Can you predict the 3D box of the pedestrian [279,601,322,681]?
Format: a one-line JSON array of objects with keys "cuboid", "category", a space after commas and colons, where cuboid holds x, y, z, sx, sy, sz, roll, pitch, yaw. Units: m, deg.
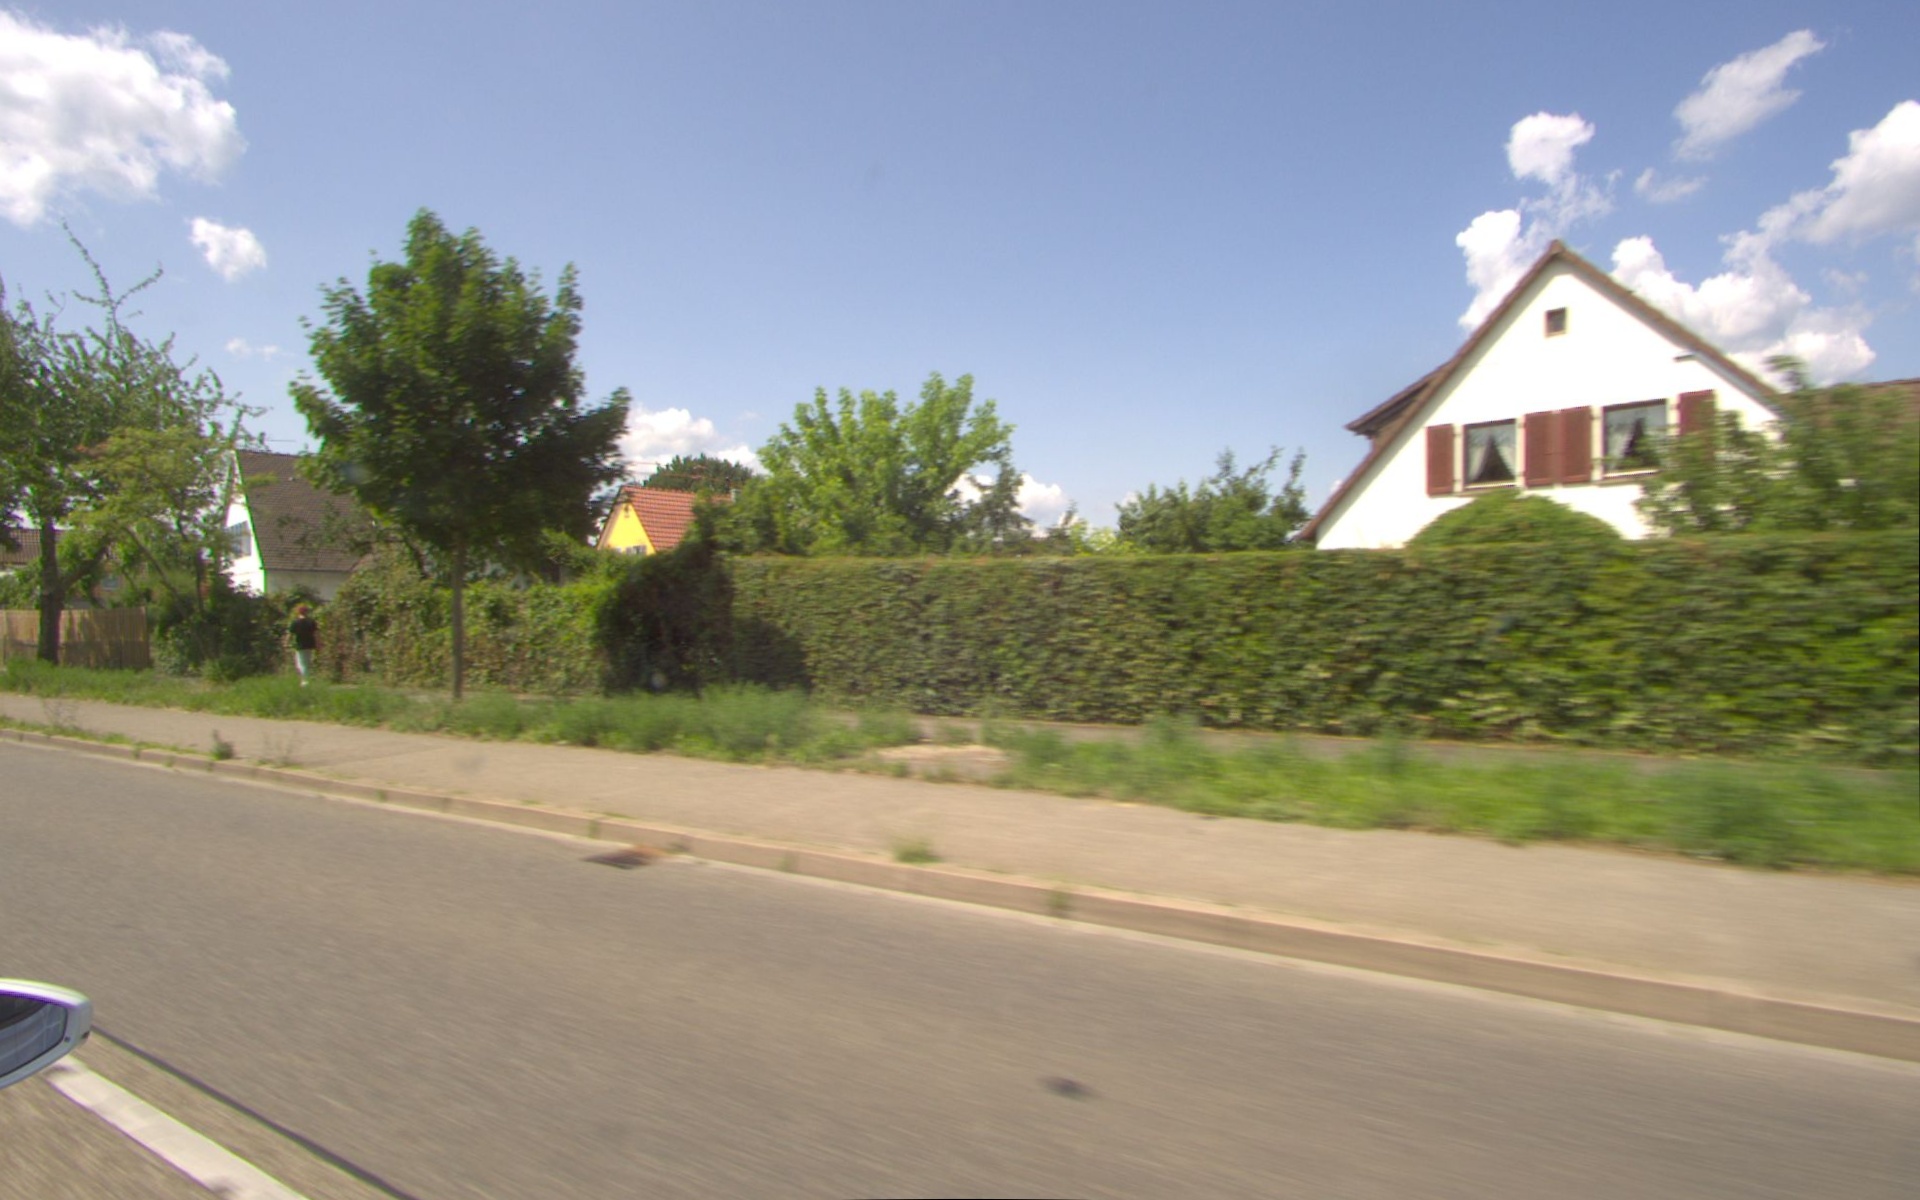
[{"cuboid": [-14.333, 0.888, 21.755, 0.625, 1.698, 0.559, 0, -1, 32], "category": "pedestrian"}]
